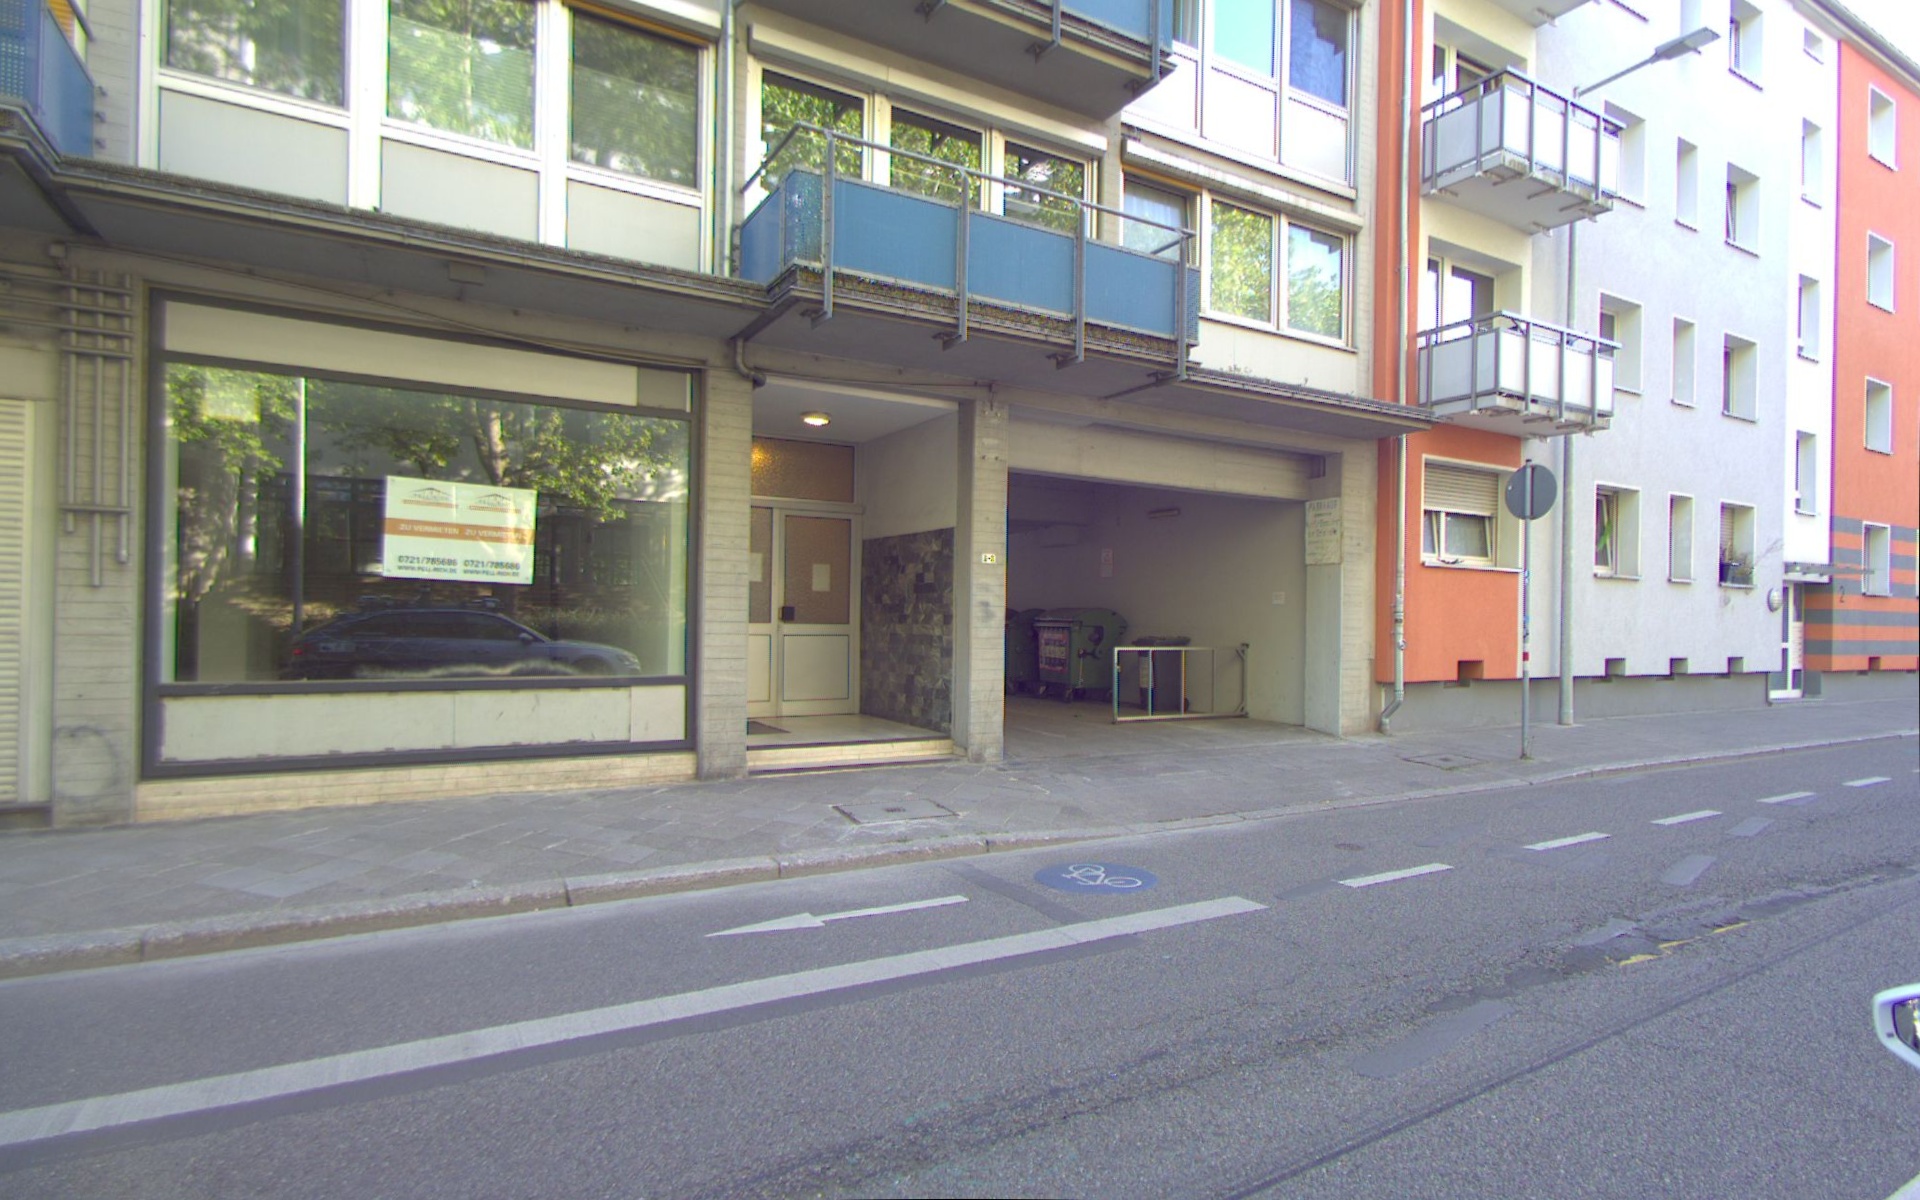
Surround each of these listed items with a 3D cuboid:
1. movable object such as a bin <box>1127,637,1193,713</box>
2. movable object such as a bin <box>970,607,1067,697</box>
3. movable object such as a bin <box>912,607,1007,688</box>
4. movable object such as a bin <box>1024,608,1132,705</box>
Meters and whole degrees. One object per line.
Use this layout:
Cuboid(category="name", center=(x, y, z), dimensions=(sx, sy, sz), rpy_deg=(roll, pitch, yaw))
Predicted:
Cuboid(category="movable object such as a bin", center=(2.892, 1.072, 14.537), dimensions=(0.695, 1.055, 0.593), rpy_deg=(2, 0, -30))
Cuboid(category="movable object such as a bin", center=(0.991, 0.864, 17.178), dimensions=(1.119, 1.449, 1.322), rpy_deg=(1, 0, -28))
Cuboid(category="movable object such as a bin", center=(-0.036, 0.861, 18.881), dimensions=(1.119, 1.449, 1.666), rpy_deg=(1, 0, -28))
Cuboid(category="movable object such as a bin", center=(1.843, 0.859, 15.855), dimensions=(1.128, 1.449, 1.342), rpy_deg=(1, 0, -28))
